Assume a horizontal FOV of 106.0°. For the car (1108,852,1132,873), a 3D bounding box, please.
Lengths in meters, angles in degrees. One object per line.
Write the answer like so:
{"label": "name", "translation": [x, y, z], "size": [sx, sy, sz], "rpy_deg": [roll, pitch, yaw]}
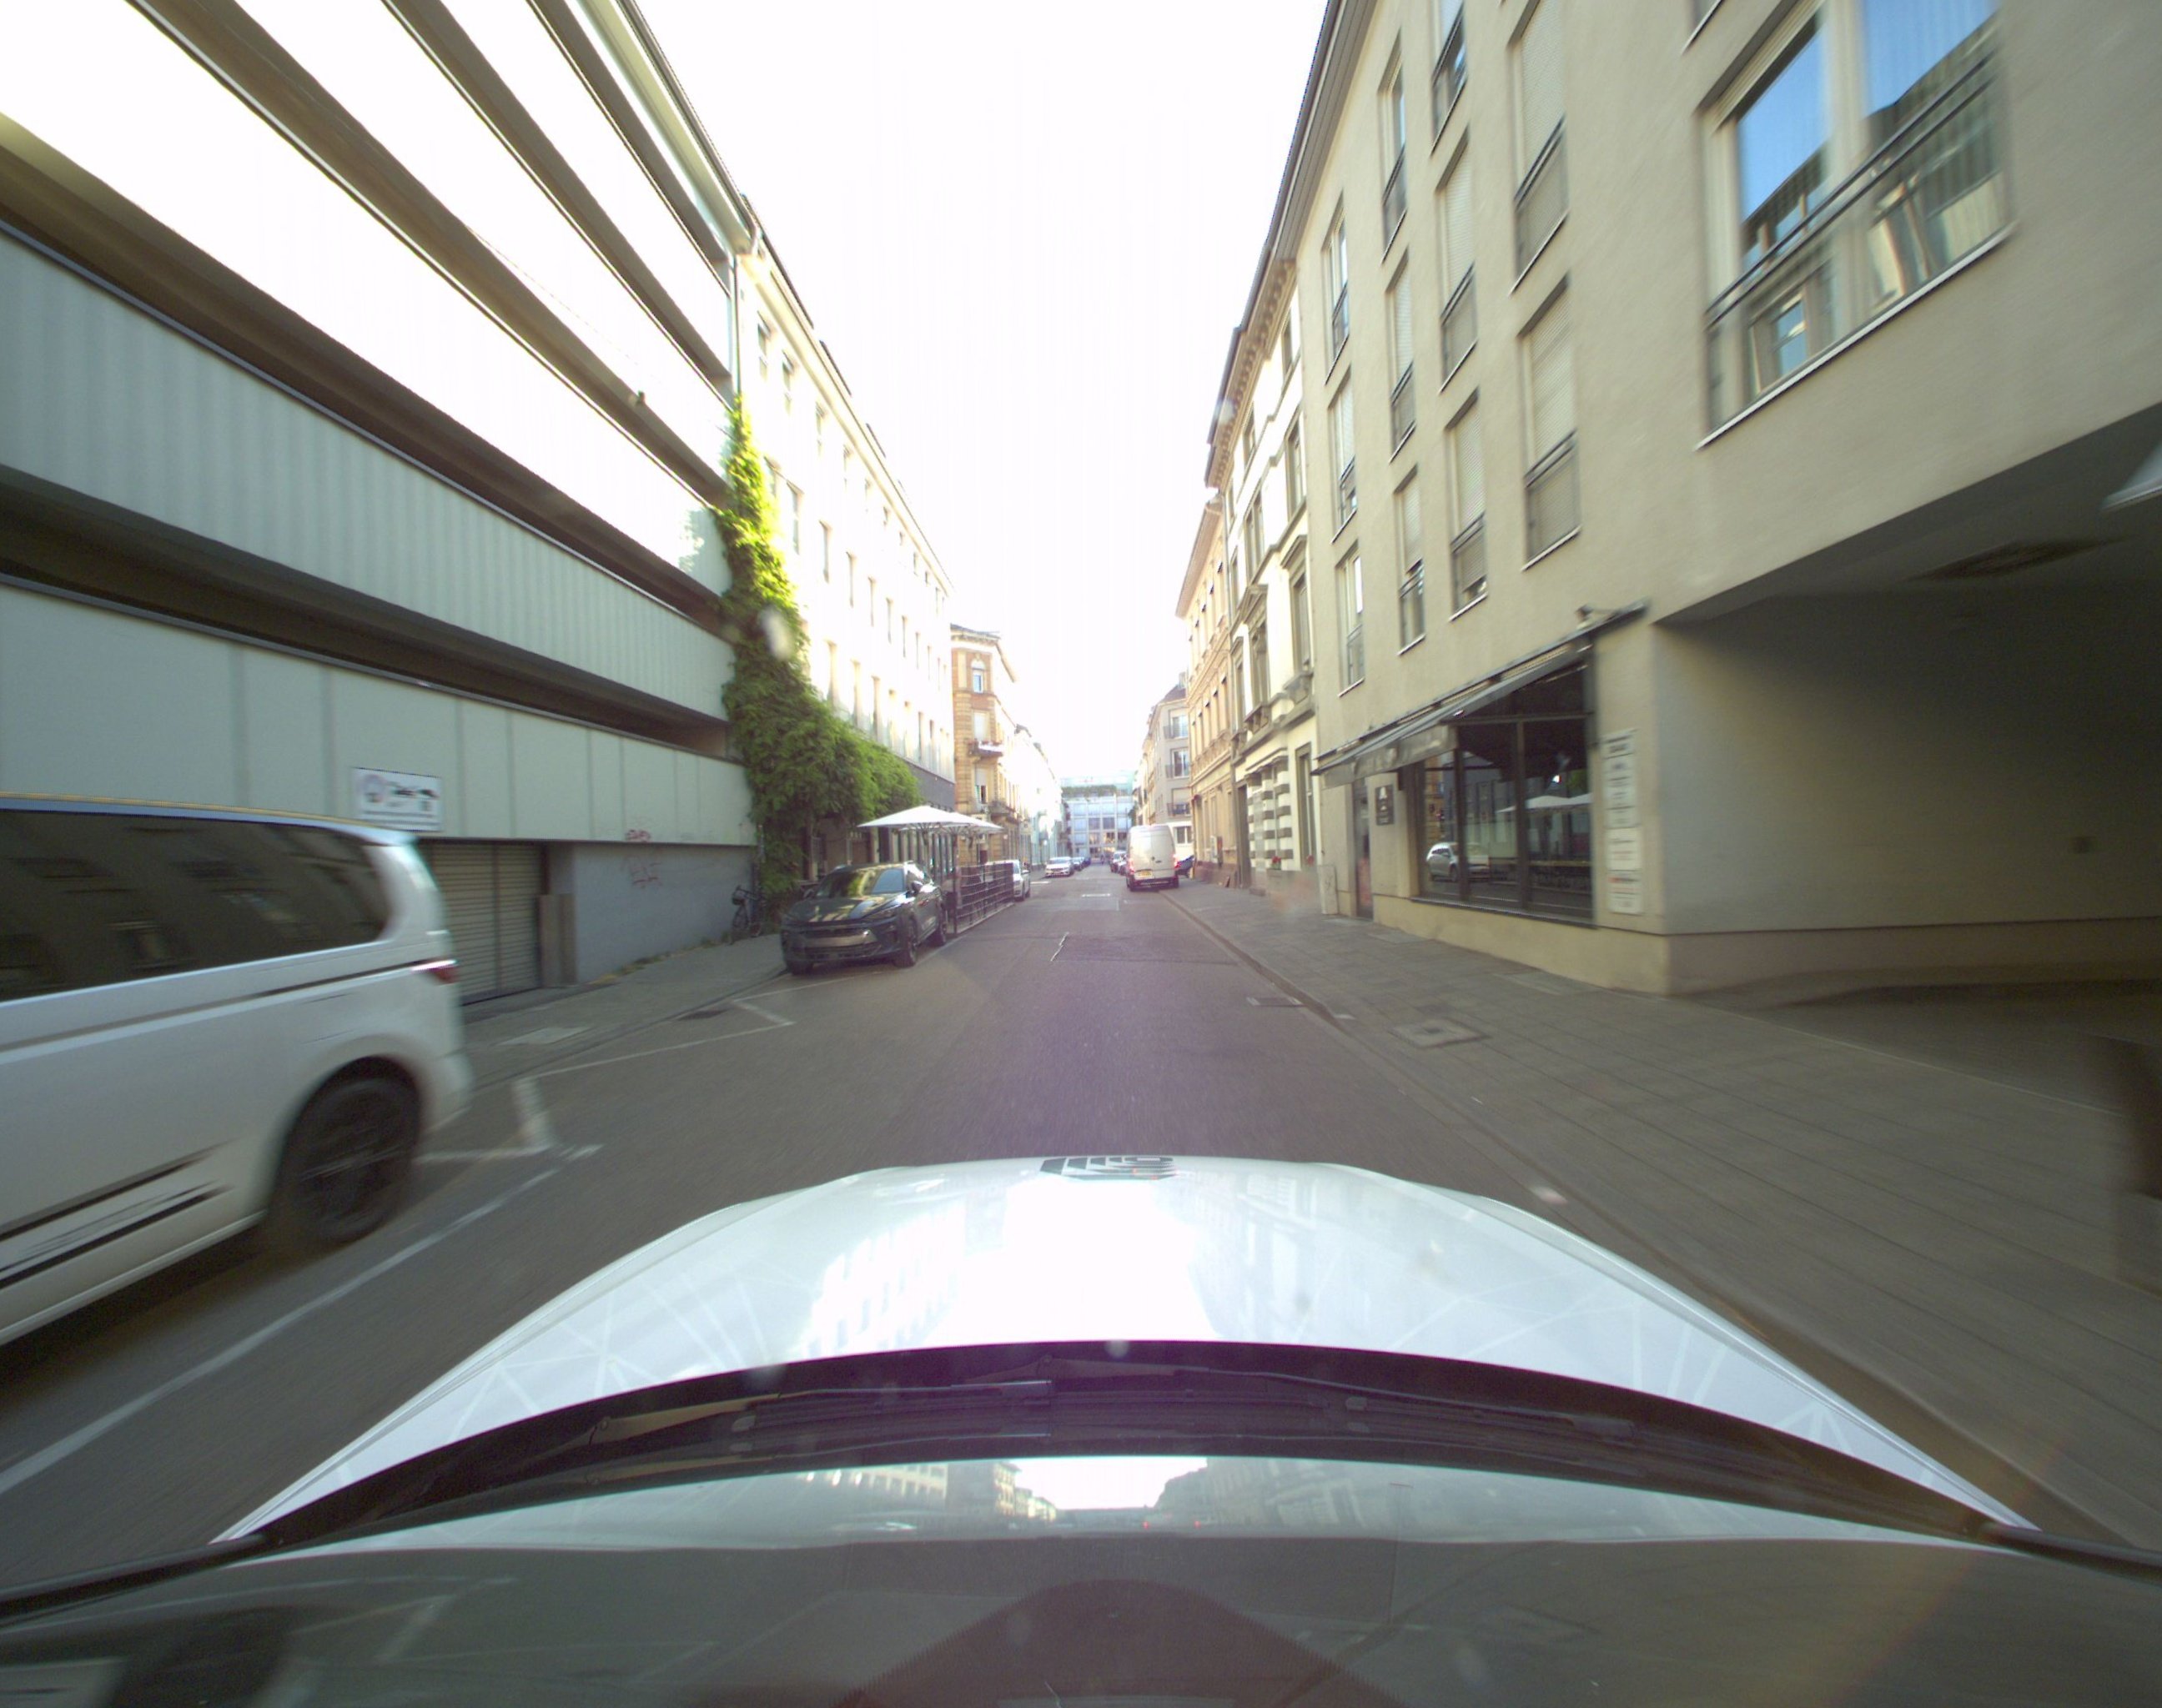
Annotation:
{"label": "car", "translation": [3.429, 0.745, 71.611], "size": [1.887, 1.784, 4.000], "rpy_deg": [-2, 0, 1]}

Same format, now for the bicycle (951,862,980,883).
{"label": "bicycle", "translation": [-7.489, 1.219, 52.835], "size": [1.753, 1.275, 0.660], "rpy_deg": [-2, 3, -3]}

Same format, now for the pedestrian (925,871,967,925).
{"label": "pedestrian", "translation": [-3.061, 0.984, 18.477], "size": [0.546, 1.165, 0.746], "rpy_deg": [-2, 0, 33]}

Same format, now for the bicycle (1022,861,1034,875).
{"label": "bicycle", "translation": [-4.725, 1.220, 72.731], "size": [0.735, 1.160, 2.462], "rpy_deg": [-2, 0, 1]}

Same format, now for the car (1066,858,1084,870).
{"label": "car", "translation": [-0.748, 1.225, 101.971], "size": [2.166, 1.418, 3.999], "rpy_deg": [-2, 0, -1]}

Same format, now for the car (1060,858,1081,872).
{"label": "car", "translation": [-1.047, 1.129, 84.196], "size": [1.986, 1.355, 4.430], "rpy_deg": [-2, 0, 1]}

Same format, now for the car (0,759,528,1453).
{"label": "car", "translation": [-4.051, 0.757, 1.998], "size": [1.987, 1.940, 4.849], "rpy_deg": [-4, 0, -1]}

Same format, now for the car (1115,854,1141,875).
{"label": "car", "translation": [3.788, 0.852, 66.183], "size": [1.957, 1.557, 3.889], "rpy_deg": [-2, 0, 1]}

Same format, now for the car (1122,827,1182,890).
{"label": "car", "translation": [2.983, 0.163, 35.569], "size": [2.268, 2.439, 6.207], "rpy_deg": [-2, 0, 3]}

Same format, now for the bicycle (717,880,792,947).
{"label": "bicycle", "translation": [-6.292, 1.120, 15.778], "size": [0.640, 1.160, 1.795], "rpy_deg": [-1, 0, 2]}

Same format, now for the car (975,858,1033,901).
{"label": "car", "translation": [-2.726, 0.887, 29.552], "size": [1.652, 1.414, 3.882], "rpy_deg": [-2, -1, 1]}

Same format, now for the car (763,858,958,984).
{"label": "car", "translation": [-3.399, 0.935, 13.596], "size": [1.875, 1.568, 4.769], "rpy_deg": [-4, 0, -1]}

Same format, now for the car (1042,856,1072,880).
{"label": "car", "translation": [-1.762, 1.023, 61.372], "size": [1.987, 1.564, 4.505], "rpy_deg": [-4, 0, 0]}

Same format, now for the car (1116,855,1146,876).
{"label": "car", "translation": [3.647, 0.797, 60.113], "size": [1.932, 1.372, 3.789], "rpy_deg": [-4, 0, 0]}

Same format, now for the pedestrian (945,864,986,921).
{"label": "pedestrian", "translation": [-2.779, 0.911, 19.596], "size": [0.778, 1.287, 0.916], "rpy_deg": [-2, 0, 2]}
